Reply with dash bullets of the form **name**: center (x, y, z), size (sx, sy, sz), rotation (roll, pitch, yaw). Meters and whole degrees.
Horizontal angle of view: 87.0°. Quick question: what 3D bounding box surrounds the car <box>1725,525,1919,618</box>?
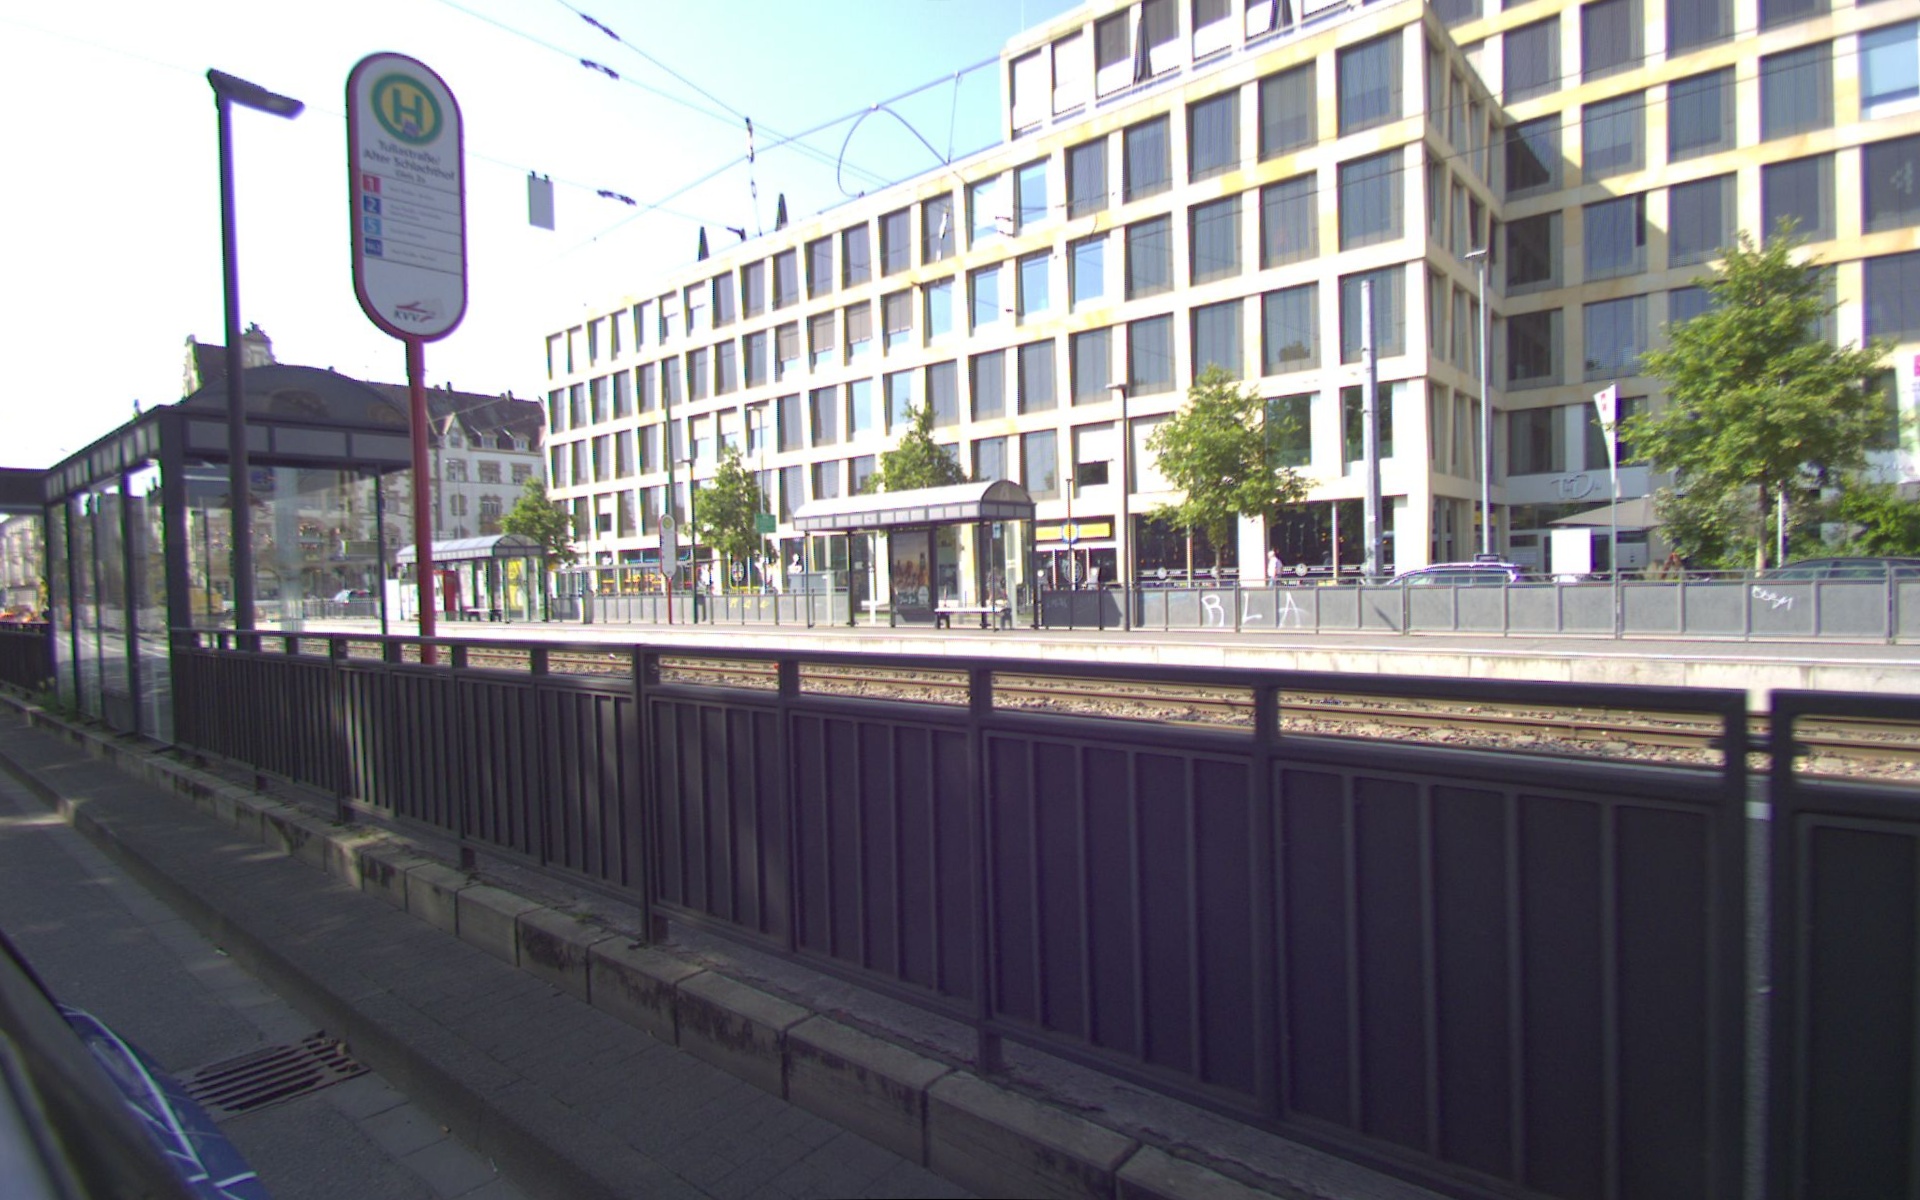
- **car**: center (16.089, -0.478, 17.802), size (4.128, 1.546, 1.746), rotation (-1, 0, 40)

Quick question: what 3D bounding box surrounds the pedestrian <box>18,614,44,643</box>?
- **pedestrian**: center (-44.898, 1.353, 48.929), size (0.691, 1.345, 0.839), rotation (-2, 1, -29)

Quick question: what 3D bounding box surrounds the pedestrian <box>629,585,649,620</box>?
- **pedestrian**: center (-19.140, 0.148, 60.329), size (0.690, 2.029, 0.843), rotation (0, -1, 40)

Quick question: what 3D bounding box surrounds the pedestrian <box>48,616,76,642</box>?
- **pedestrian**: center (-40.840, 1.318, 46.031), size (0.692, 1.163, 0.589), rotation (-2, 0, -10)

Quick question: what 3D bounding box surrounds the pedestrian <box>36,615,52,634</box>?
- **pedestrian**: center (-60.643, 1.620, 66.972), size (0.547, 1.256, 0.669), rotation (-1, 1, 39)

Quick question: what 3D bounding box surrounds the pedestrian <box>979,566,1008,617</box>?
- **pedestrian**: center (1.331, -0.340, 40.470), size (0.822, 2.029, 0.758), rotation (-1, 1, 44)

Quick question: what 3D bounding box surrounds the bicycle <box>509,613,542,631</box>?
- **bicycle**: center (-20.430, 1.033, 47.542), size (1.896, 0.828, 0.622), rotation (1, -1, 40)

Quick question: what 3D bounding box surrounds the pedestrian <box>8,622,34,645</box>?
- **pedestrian**: center (-41.172, 1.470, 44.372), size (0.881, 0.962, 0.693), rotation (-1, 1, 41)

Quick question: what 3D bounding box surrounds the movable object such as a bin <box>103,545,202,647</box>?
- **movable object such as a bin**: center (-38.366, -0.196, 48.061), size (4.211, 4.588, 2.955), rotation (-2, 1, 43)

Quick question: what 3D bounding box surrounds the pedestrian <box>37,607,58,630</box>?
- **pedestrian**: center (-62.291, 1.264, 69.089), size (0.727, 1.568, 0.753), rotation (-2, 1, -2)

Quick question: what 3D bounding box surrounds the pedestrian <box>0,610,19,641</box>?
- **pedestrian**: center (-46.596, 1.251, 49.401), size (0.730, 1.490, 0.705), rotation (-2, 1, -27)

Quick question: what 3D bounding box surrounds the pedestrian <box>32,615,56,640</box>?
- **pedestrian**: center (-45.316, 1.360, 50.080), size (0.691, 1.186, 0.704), rotation (-2, 1, -29)

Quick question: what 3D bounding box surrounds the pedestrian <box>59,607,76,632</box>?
- **pedestrian**: center (-61.260, 1.330, 69.459), size (0.678, 1.715, 0.743), rotation (-1, 1, 40)

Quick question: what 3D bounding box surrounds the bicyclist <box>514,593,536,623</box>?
- **bicyclist**: center (-20.429, 0.367, 47.557), size (0.783, 1.413, 0.623), rotation (0, -1, 40)

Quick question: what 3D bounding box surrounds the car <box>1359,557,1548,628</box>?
- **car**: center (10.835, -0.150, 22.313), size (3.501, 1.439, 1.538), rotation (-1, 1, 39)

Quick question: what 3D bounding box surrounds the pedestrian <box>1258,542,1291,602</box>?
- **pedestrian**: center (10.345, -0.914, 33.257), size (0.836, 1.931, 0.786), rotation (1, -1, 35)
